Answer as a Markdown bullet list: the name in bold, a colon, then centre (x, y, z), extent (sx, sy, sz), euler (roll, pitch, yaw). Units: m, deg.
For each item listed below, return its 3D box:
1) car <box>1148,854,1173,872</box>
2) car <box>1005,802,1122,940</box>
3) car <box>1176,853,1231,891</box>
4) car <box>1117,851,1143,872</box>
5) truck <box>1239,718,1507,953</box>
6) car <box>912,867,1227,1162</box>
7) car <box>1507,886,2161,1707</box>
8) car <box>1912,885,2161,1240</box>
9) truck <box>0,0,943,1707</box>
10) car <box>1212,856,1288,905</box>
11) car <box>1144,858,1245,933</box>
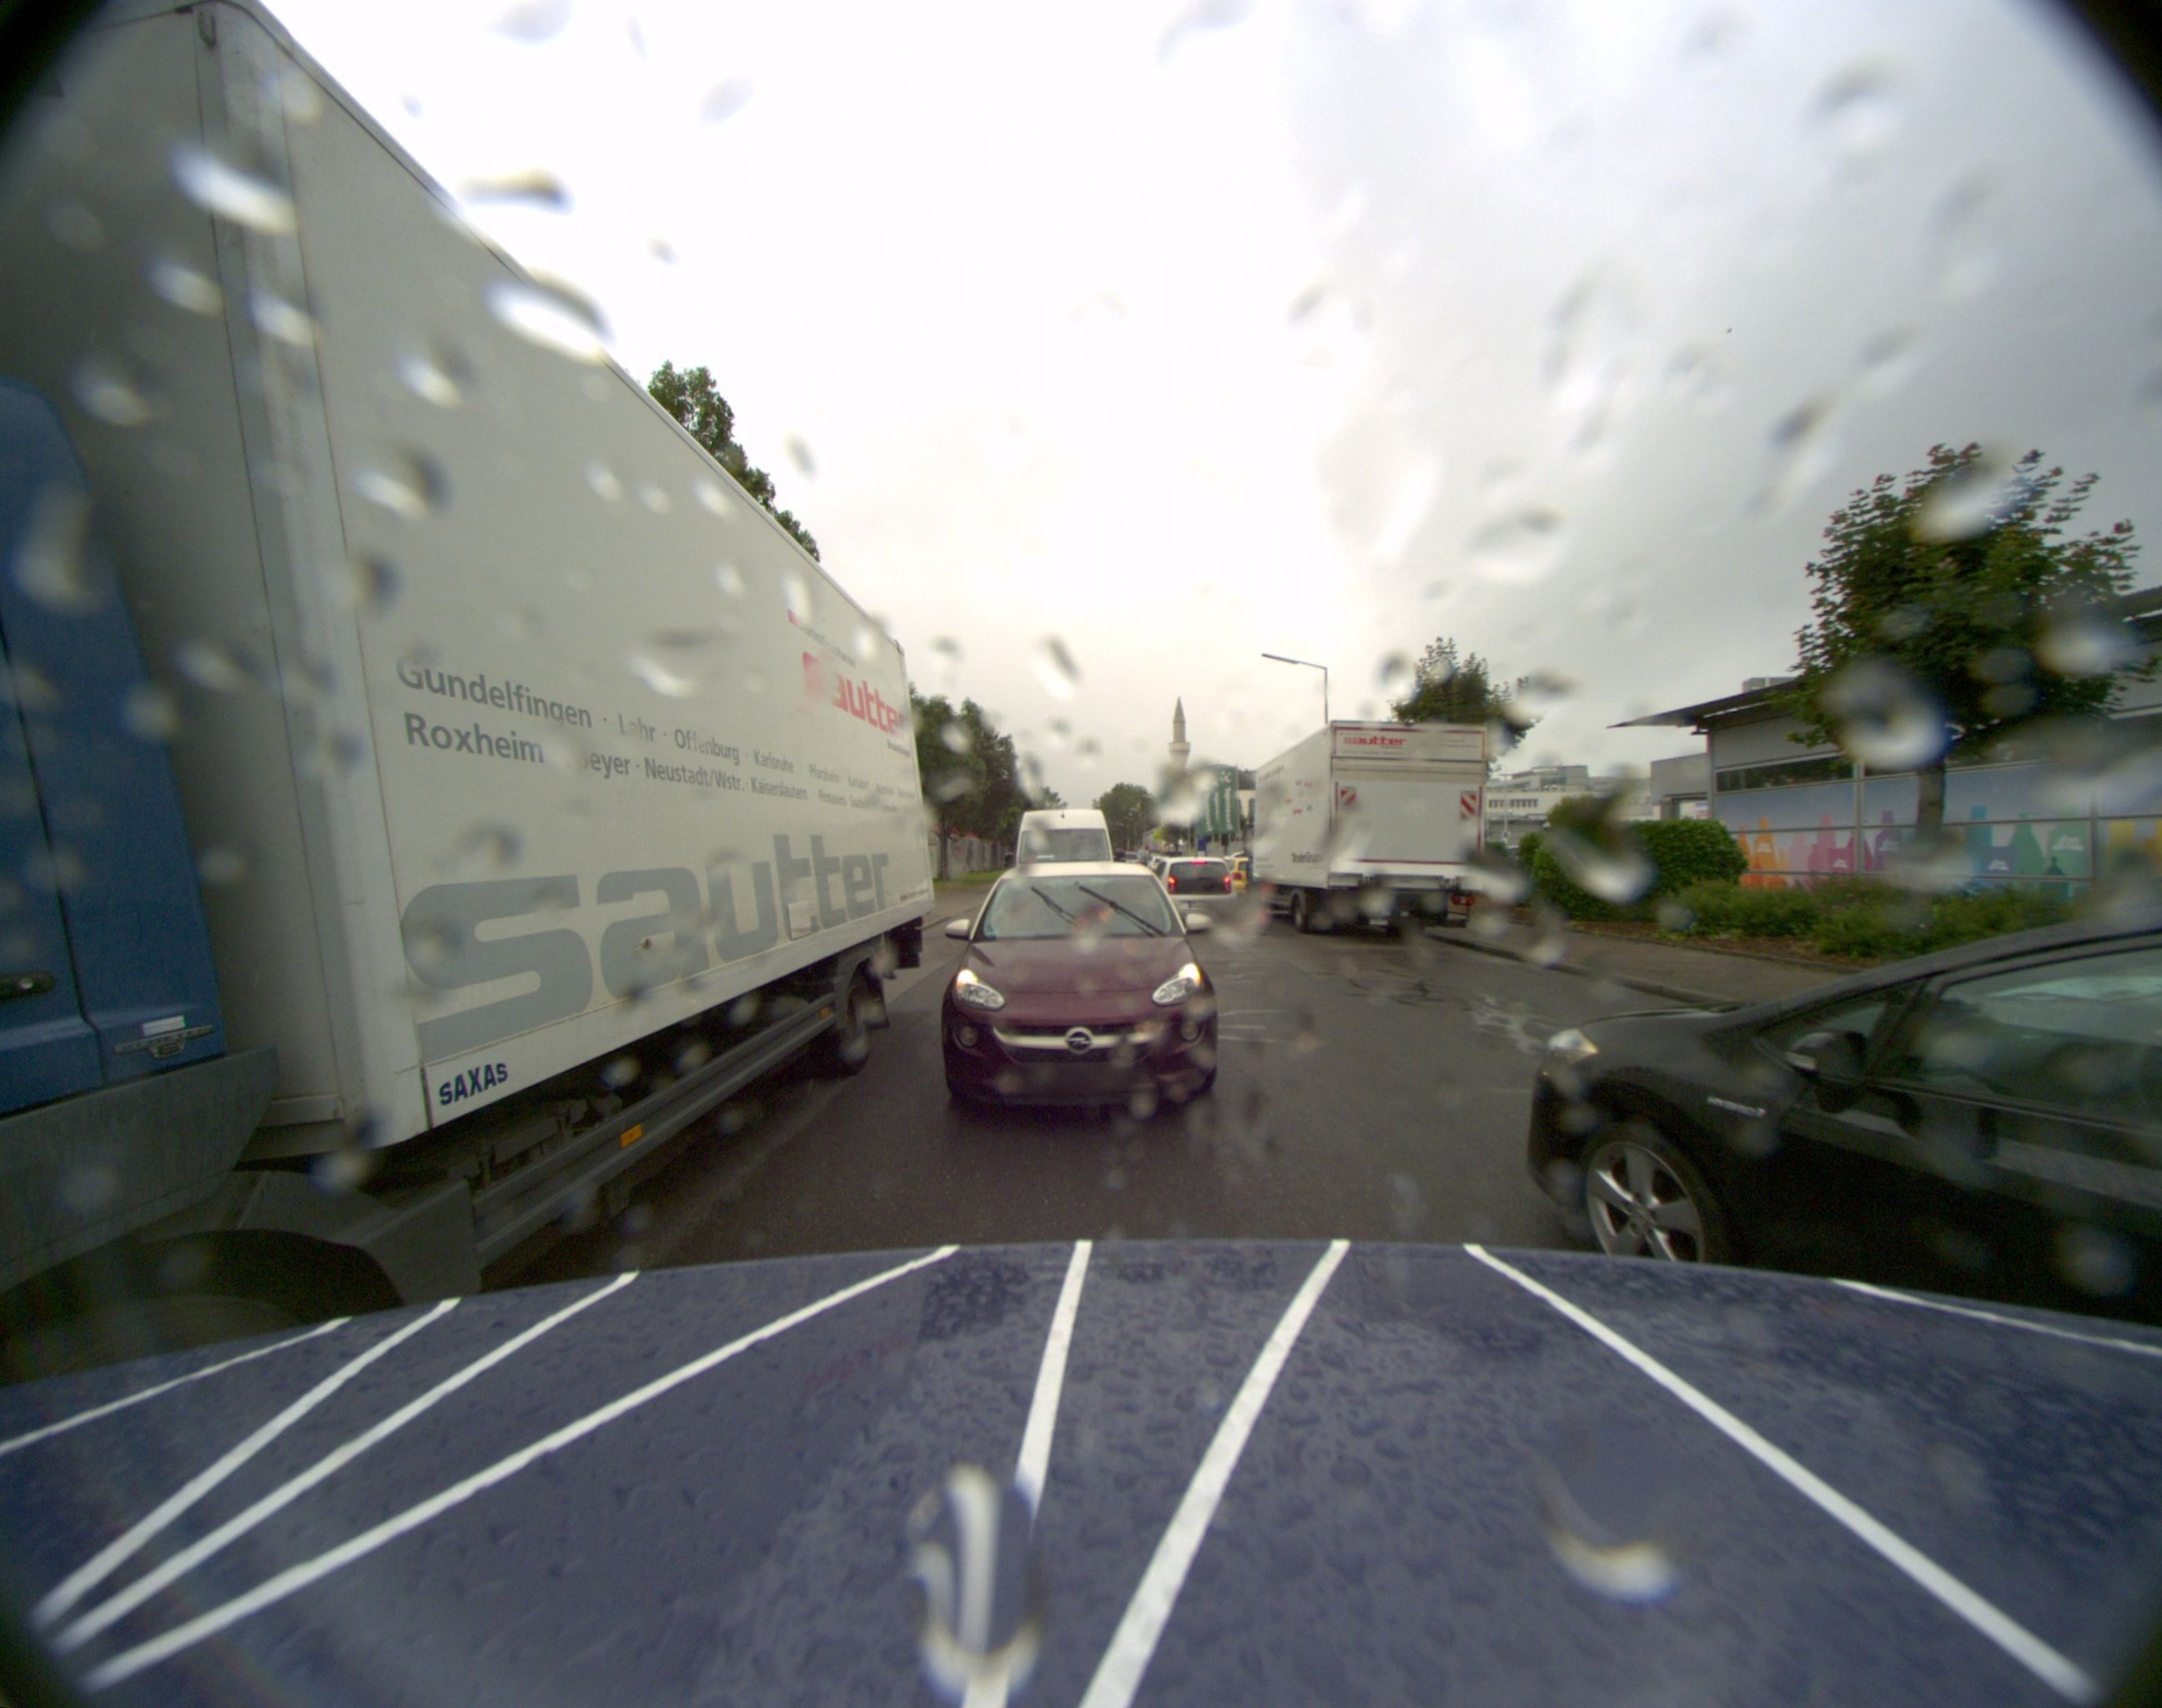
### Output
- **car**: centre (6.417, 0.707, 61.786), extent (1.579, 1.333, 3.610), euler (-1, 0, 0)
- **car**: centre (-0.364, 0.303, 16.539), extent (2.085, 2.466, 5.346), euler (-1, 0, -1)
- **car**: centre (5.034, 0.721, 31.559), extent (1.691, 1.457, 3.513), euler (-1, 0, 0)
- **car**: centre (3.744, 0.545, 58.476), extent (1.691, 1.588, 3.610), euler (-1, 0, 0)
- **truck**: centre (5.503, -0.303, 16.140), extent (2.888, 3.724, 7.868), euler (-1, 0, 2)
- **car**: centre (-0.045, 0.899, 5.886), extent (1.637, 1.446, 3.577), euler (-2, 0, 0)
- **car**: centre (2.789, 0.847, 1.129), extent (1.736, 1.432, 3.997), euler (0, 0, -7)
- **car**: centre (5.356, 0.896, 1.830), extent (1.840, 1.426, 4.492), euler (0, 0, 2)
- **truck**: centre (-2.971, -0.011, 3.861), extent (2.678, 3.670, 8.009), euler (-4, 0, 1)
- **car**: centre (5.459, 0.805, 24.939), extent (1.691, 1.457, 3.513), euler (-1, 0, 0)
- **car**: centre (2.391, 0.828, 16.723), extent (1.615, 1.430, 3.407), euler (0, 0, -2)
